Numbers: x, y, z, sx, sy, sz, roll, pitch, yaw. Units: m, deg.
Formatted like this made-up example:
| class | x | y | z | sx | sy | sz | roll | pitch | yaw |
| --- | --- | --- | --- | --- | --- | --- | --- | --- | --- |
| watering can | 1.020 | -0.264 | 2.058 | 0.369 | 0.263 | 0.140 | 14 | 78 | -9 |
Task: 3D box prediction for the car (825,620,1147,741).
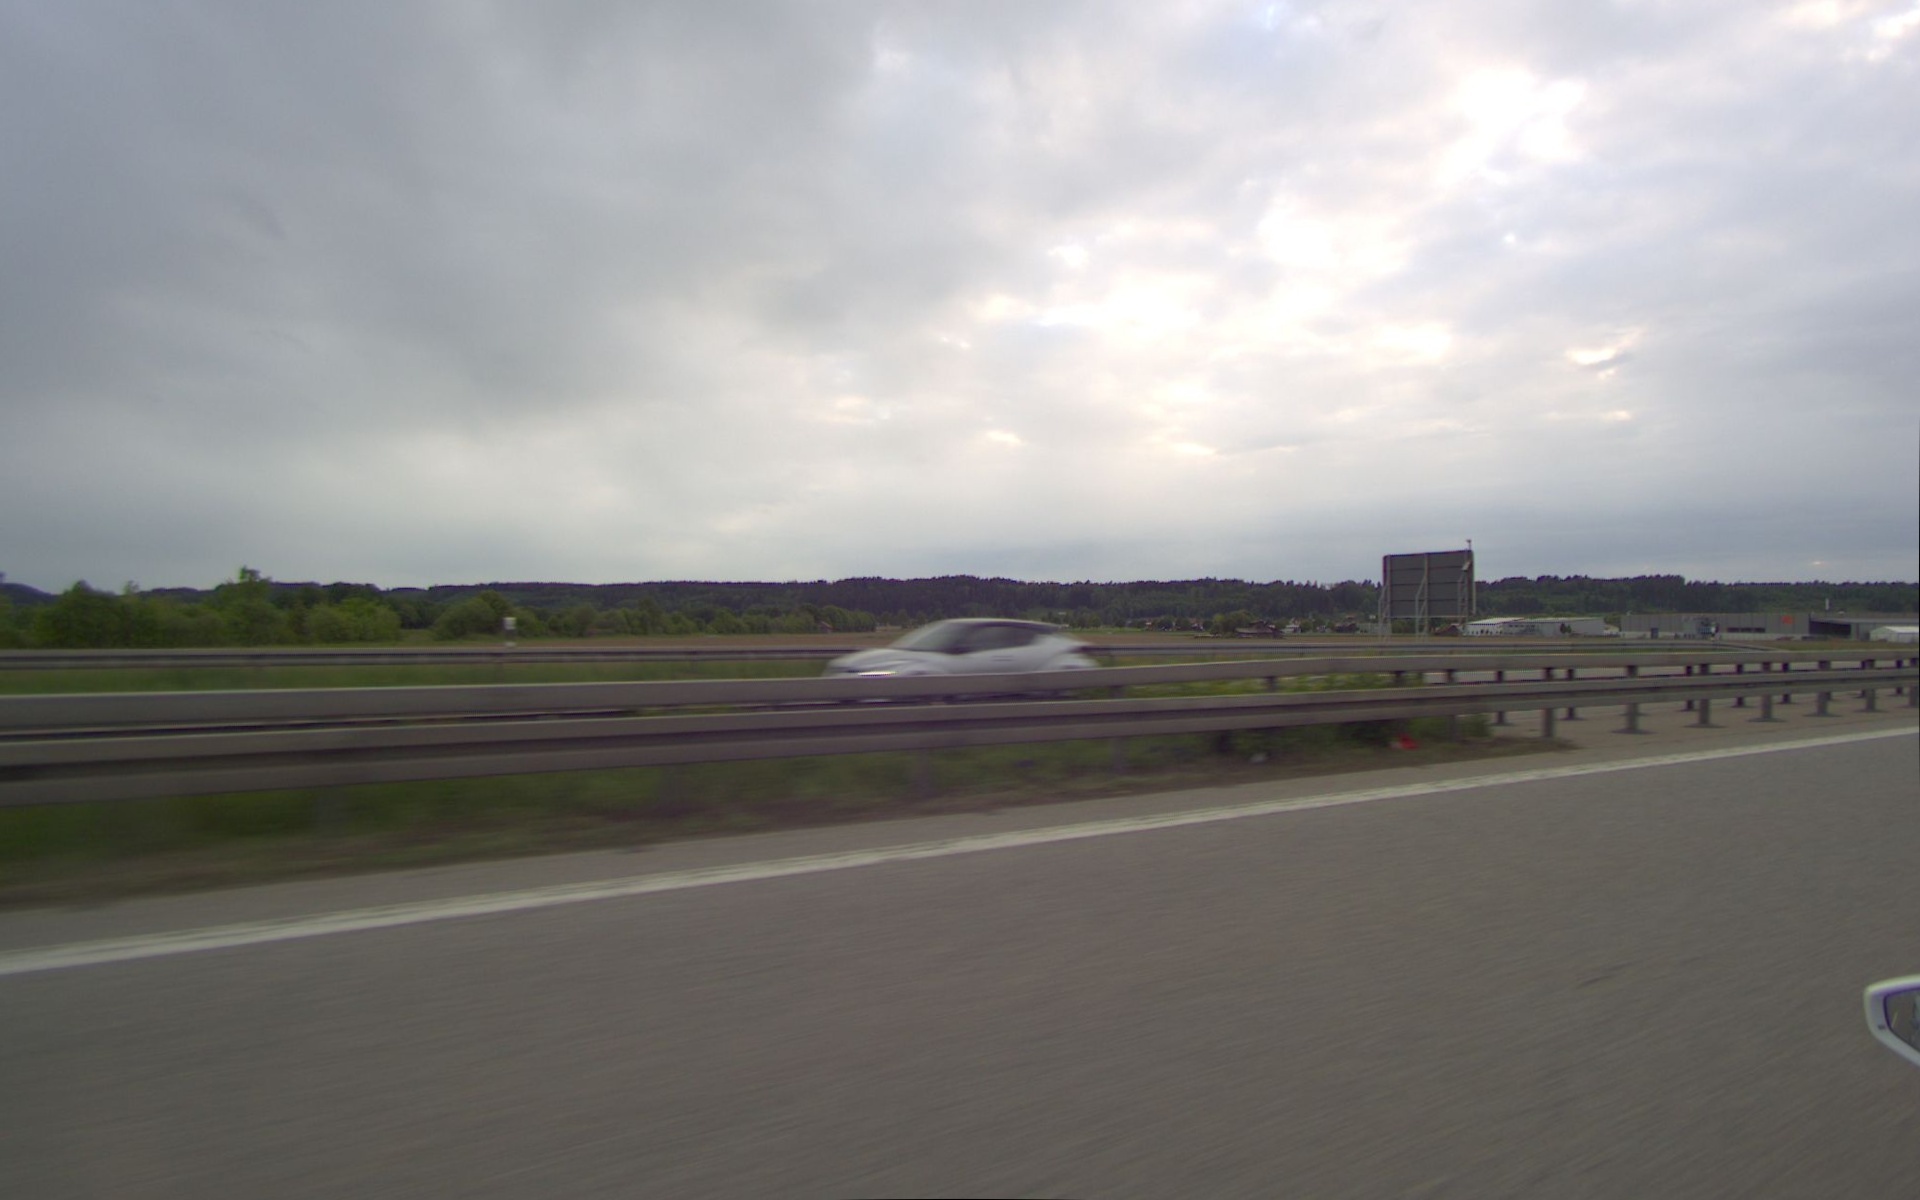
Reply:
| class | x | y | z | sx | sy | sz | roll | pitch | yaw |
| --- | --- | --- | --- | --- | --- | --- | --- | --- | --- |
| car | 0.486 | 1.169 | 15.600 | 4.800 | 1.595 | 1.732 | 2 | 0 | -30 |
